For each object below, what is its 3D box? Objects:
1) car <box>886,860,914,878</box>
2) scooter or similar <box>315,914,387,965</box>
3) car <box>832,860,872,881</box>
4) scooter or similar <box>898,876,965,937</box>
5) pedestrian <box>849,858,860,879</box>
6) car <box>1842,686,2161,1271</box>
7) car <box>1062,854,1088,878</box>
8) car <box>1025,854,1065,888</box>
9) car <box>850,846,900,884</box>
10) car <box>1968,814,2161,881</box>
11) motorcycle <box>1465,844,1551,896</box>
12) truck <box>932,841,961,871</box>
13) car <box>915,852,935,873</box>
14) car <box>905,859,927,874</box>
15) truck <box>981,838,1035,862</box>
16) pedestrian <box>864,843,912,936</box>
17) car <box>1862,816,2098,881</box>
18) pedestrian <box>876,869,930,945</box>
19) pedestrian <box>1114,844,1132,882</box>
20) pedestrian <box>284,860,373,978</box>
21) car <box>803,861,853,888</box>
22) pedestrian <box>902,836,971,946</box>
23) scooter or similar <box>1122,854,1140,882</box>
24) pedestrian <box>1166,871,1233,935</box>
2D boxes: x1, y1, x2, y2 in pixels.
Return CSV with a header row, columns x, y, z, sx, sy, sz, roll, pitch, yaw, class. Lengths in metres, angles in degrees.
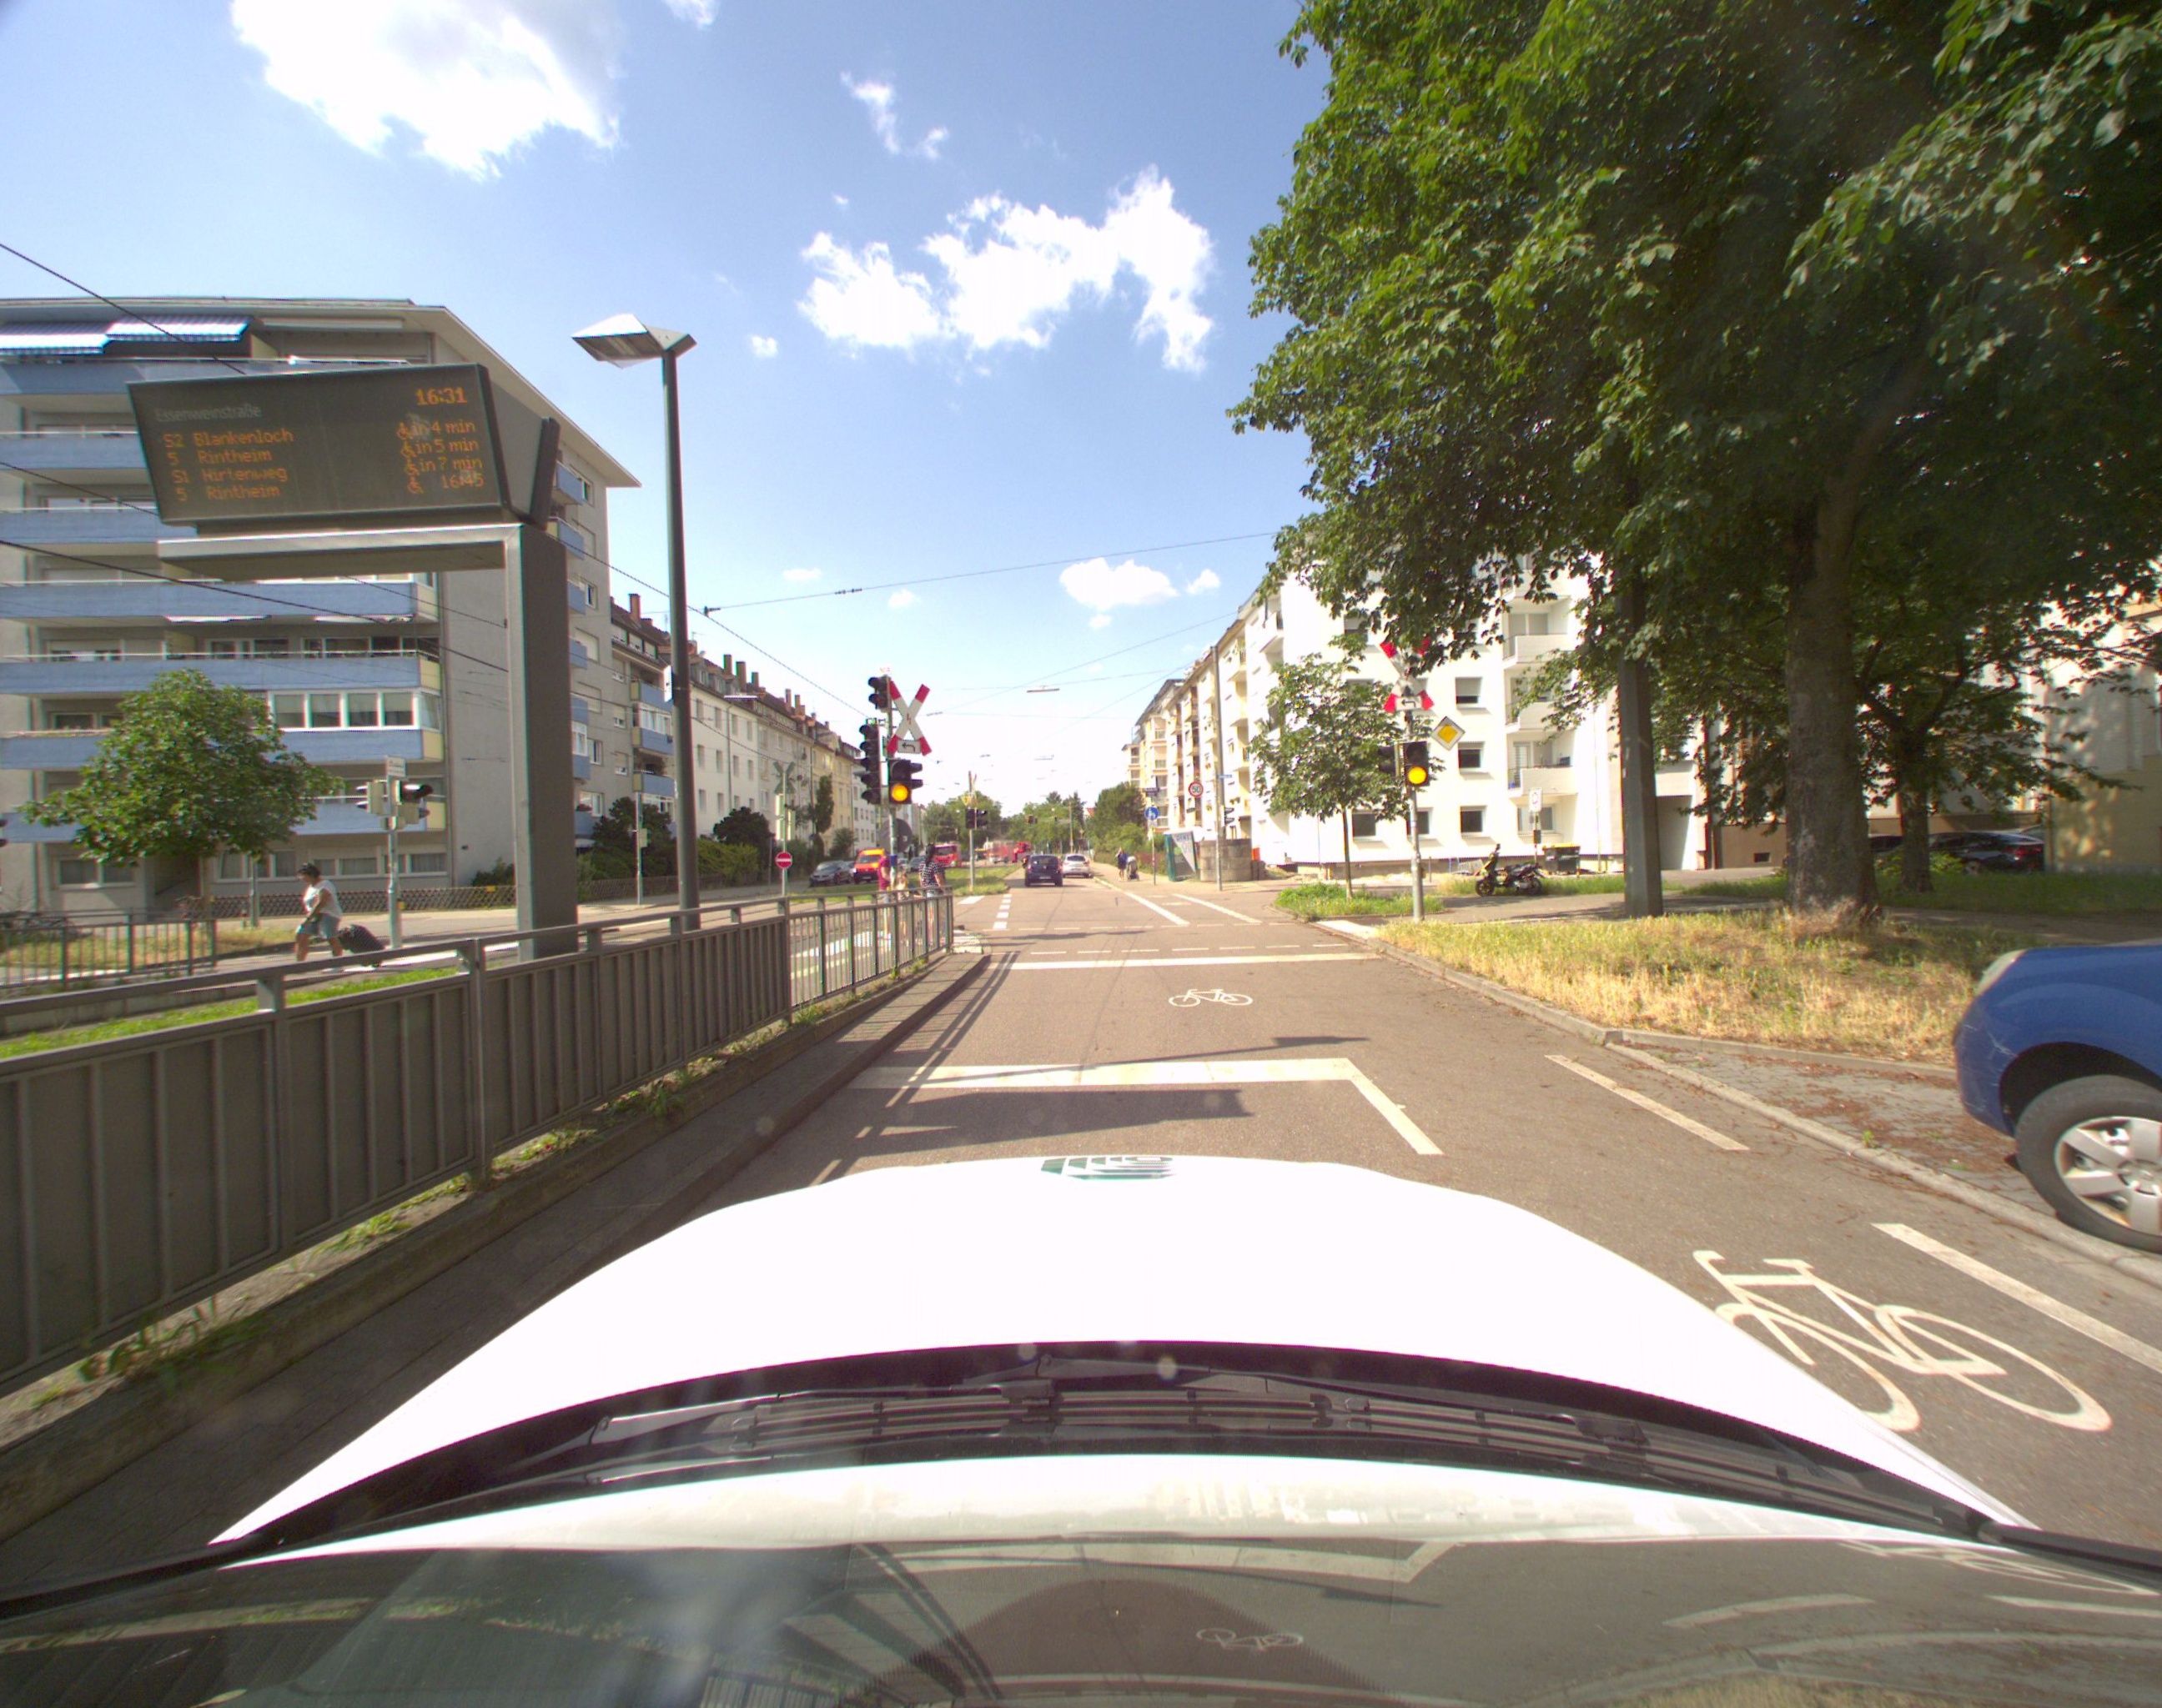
x,y,z,sx,sy,sz,roll,pitch,yaw,class
-17.552,1.401,79.189,1.989,1.711,3.996,0,0,-3,car
-11.323,1.315,12.648,0.441,0.698,0.701,-2,0,2,scooter or similar
-16.370,1.125,58.306,1.763,1.441,3.999,0,0,-1,car
-2.691,0.939,14.778,1.097,1.056,0.650,-1,-1,-2,scooter or similar
-19.310,1.215,69.320,0.704,1.794,0.863,-2,0,-5,pedestrian
4.293,0.376,1.615,1.814,1.896,4.189,-3,1,5,car
-0.389,0.749,51.870,1.617,1.465,3.509,0,0,-1,car
-1.668,0.770,38.906,1.738,1.507,3.999,0,0,0,car
-13.325,0.669,52.934,1.987,2.275,4.832,-2,0,0,car
25.911,-0.190,21.169,1.795,1.539,4.012,-2,0,11,car
10.926,0.425,20.898,0.574,1.215,1.829,-7,1,-31,motorcycle
-15.342,0.233,93.264,2.592,3.185,8.367,-2,0,-5,truck
-18.378,0.994,96.206,1.773,2.400,4.688,0,0,-4,car
-18.052,1.374,89.261,1.773,1.557,3.995,0,0,-4,car
-11.125,-0.581,125.394,2.641,3.470,10.232,-1,0,32,truck
-3.486,0.634,14.735,0.703,1.648,0.636,0,-1,-1,pedestrian
23.104,-0.127,21.187,1.733,1.459,4.000,-2,0,0,car
-2.954,0.855,13.484,0.640,1.180,0.792,-2,-1,-27,pedestrian
2.101,0.443,40.934,0.699,1.789,1.030,-5,0,0,pedestrian
-11.073,0.934,12.007,0.657,1.664,0.632,-2,0,2,pedestrian
-16.190,1.260,52.287,1.987,1.645,3.999,0,0,-1,car
-2.313,0.567,13.030,0.849,1.667,0.792,-2,-1,-25,pedestrian
2.446,0.664,39.975,0.660,1.303,0.868,-5,0,-2,scooter or similar
4.075,1.626,28.519,1.985,2.014,4.004,0,0,4,pedestrian
